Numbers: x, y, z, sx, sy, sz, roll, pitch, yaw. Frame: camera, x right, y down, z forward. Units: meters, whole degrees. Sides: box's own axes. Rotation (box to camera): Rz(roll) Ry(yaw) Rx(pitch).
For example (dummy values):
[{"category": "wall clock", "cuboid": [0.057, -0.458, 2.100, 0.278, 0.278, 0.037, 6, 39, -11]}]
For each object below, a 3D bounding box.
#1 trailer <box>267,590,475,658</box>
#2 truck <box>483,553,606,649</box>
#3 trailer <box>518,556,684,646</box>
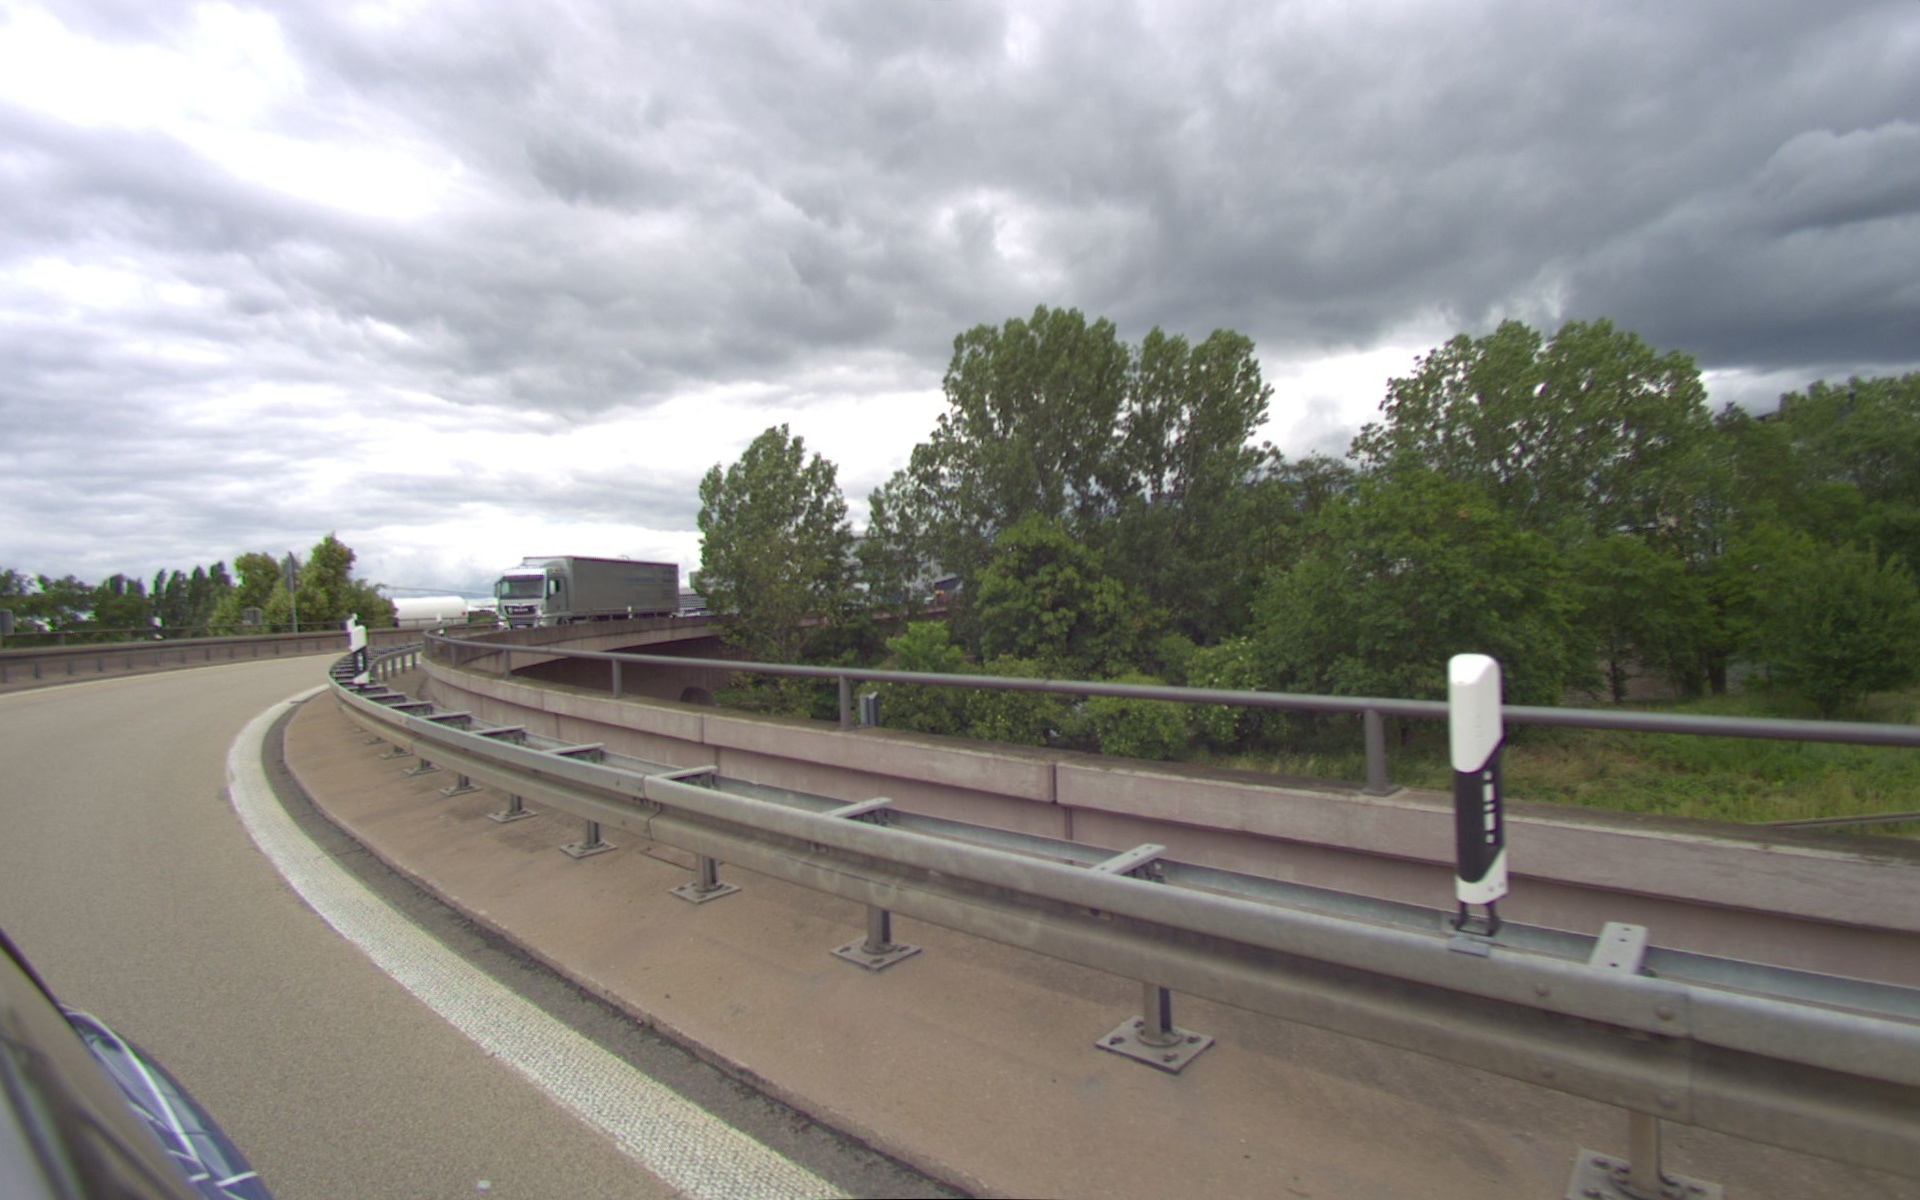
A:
[{"category": "trailer", "cuboid": [-35.948, 1.352, 62.420, 2.744, 3.677, 10.872, -2, 0, 36]}, {"category": "truck", "cuboid": [-19.969, 0.033, 49.108, 2.704, 4.260, 6.186, -2, 0, 8]}, {"category": "trailer", "cuboid": [-19.196, 0.010, 55.544, 2.716, 4.269, 13.417, -2, 0, 7]}]
